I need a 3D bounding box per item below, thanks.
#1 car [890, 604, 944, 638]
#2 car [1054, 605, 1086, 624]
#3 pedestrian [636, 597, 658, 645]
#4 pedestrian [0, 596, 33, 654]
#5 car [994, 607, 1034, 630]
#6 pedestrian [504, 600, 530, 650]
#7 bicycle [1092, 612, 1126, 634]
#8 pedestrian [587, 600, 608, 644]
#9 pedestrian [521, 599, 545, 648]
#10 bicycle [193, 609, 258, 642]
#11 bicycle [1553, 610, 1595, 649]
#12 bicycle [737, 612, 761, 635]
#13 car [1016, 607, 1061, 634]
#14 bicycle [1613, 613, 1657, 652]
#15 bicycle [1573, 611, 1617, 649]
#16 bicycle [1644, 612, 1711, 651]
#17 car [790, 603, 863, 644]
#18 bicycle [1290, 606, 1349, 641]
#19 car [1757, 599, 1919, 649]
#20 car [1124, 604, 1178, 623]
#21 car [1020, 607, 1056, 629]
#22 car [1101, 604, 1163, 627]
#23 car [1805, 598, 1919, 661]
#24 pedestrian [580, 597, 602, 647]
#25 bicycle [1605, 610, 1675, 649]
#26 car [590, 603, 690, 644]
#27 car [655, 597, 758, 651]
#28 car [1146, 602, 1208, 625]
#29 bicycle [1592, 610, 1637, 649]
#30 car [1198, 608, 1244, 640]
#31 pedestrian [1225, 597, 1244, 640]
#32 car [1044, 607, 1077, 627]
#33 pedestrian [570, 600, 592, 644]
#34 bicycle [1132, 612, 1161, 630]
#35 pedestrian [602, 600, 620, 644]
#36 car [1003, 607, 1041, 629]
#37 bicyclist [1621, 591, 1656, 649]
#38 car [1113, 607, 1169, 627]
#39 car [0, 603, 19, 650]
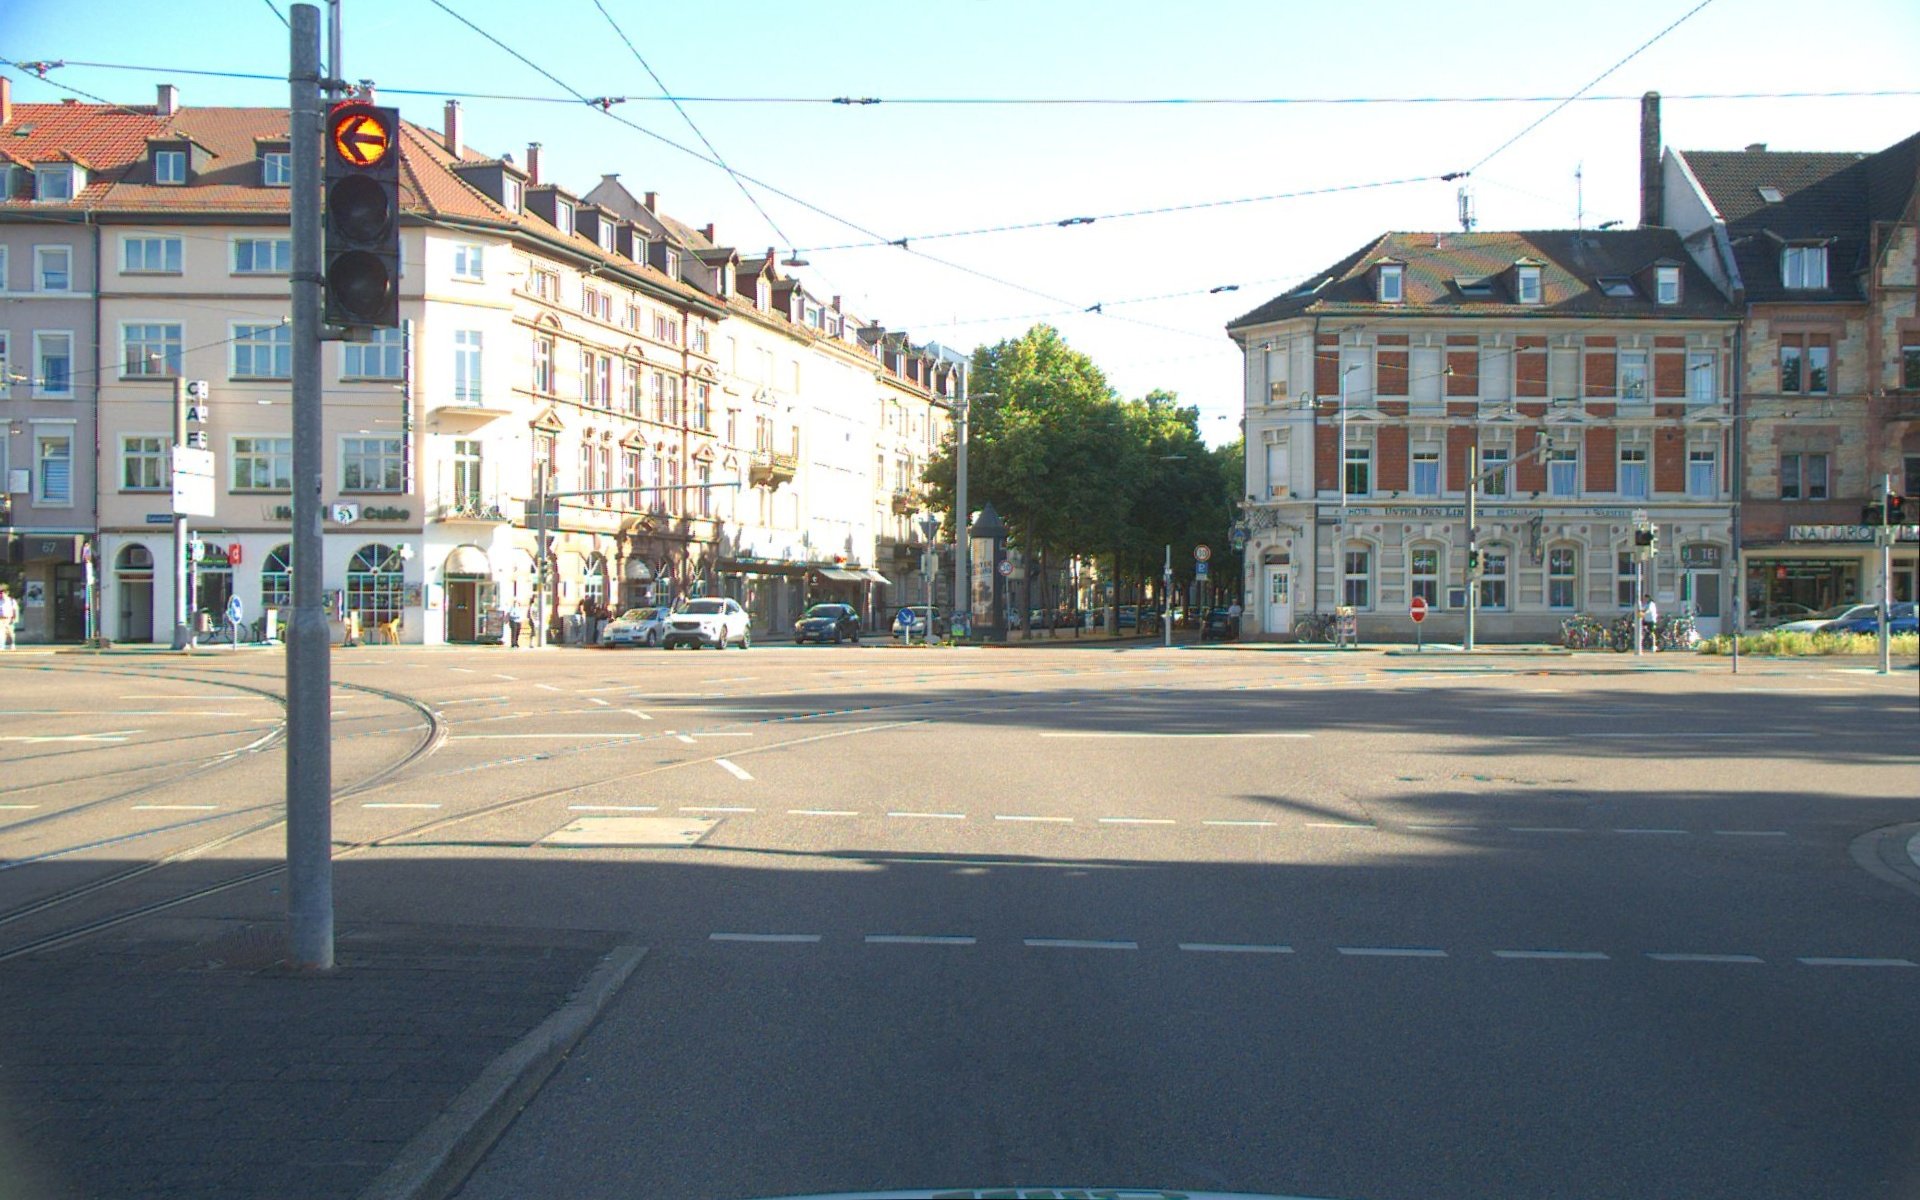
[{"bbox_3d":[-1.978,0.983,77.610,1.681,1.523,3.586,0,0,13],"label":"car"},{"bbox_3d":[9.118,1.194,136.681,1.951,1.523,4.037,0,0,13],"label":"car"},{"bbox_3d":[-12.608,0.831,66.711,0.667,1.942,0.633,0,0,15],"label":"pedestrian"},{"bbox_3d":[-27.064,0.717,47.296,0.709,1.655,0.672,0,0,9],"label":"pedestrian"},{"bbox_3d":[3.699,1.231,112.901,1.951,1.523,4.037,0,0,13],"label":"car"},{"bbox_3d":[-14.928,0.836,55.716,0.661,1.670,0.579,0,0,13],"label":"pedestrian"},{"bbox_3d":[7.462,1.161,82.843,0.577,1.086,1.924,0,0,-37],"label":"bicycle"},{"bbox_3d":[-13.779,0.833,62.855,0.613,1.670,0.538,0,0,8],"label":"pedestrian"},{"bbox_3d":[-14.703,0.793,56.994,0.617,1.670,0.553,0,0,13],"label":"pedestrian"},{"bbox_3d":[-24.896,0.860,56.100,1.906,1.086,0.582,0,0,-8],"label":"bicycle"},{"bbox_3d":[19.828,0.930,53.440,0.663,1.211,1.967,0,0,0],"label":"bicycle"},{"bbox_3d":[-10.137,1.131,79.371,0.484,1.086,1.771,0,0,15],"label":"bicycle"},{"bbox_3d":[4.662,1.184,97.388,1.951,1.523,4.037,0,0,13],"label":"car"},{"bbox_3d":[21.817,1.030,53.489,0.663,1.211,1.967,0,0,0],"label":"bicycle"},{"bbox_3d":[20.517,0.957,53.477,0.663,1.211,1.967,0,0,0],"label":"bicycle"},{"bbox_3d":[23.039,1.004,53.110,1.926,1.211,0.677,0,0,-13],"label":"bicycle"},{"bbox_3d":[-5.094,0.872,63.857,1.736,1.523,4.577,0,0,10],"label":"car"},{"bbox_3d":[12.454,0.803,57.344,1.919,1.211,0.546,0,0,4],"label":"bicycle"},{"bbox_3d":[25.962,0.707,48.936,3.906,1.437,1.845,0,0,-2],"label":"car"},{"bbox_3d":[15.558,1.100,134.595,3.910,1.572,1.998,0,0,28],"label":"car"},{"bbox_3d":[5.791,1.311,122.654,1.951,1.523,4.037,0,0,13],"label":"car"},{"bbox_3d":[12.027,1.110,115.820,3.910,1.572,1.998,0,0,28],"label":"car"},{"bbox_3d":[25.911,0.796,45.940,3.906,1.697,1.954,0,0,-2],"label":"car"},{"bbox_3d":[-13.800,0.827,61.887,0.567,1.868,0.633,0,0,15],"label":"pedestrian"},{"bbox_3d":[21.057,0.905,51.229,1.920,1.211,0.602,0,0,2],"label":"bicycle"},{"bbox_3d":[-11.406,0.825,59.171,1.951,1.379,4.225,0,0,13],"label":"car"},{"bbox_3d":[-7.496,0.675,49.343,1.951,1.523,4.350,0,0,7],"label":"car"},{"bbox_3d":[15.300,0.951,116.730,3.913,1.572,1.996,0,0,30],"label":"car"},{"bbox_3d":[21.155,0.939,53.487,0.663,1.211,1.967,0,0,0],"label":"bicycle"},{"bbox_3d":[13.069,1.164,82.586,1.951,1.523,4.037,0,0,13],"label":"car"},{"bbox_3d":[11.007,0.736,66.361,0.700,1.698,0.940,0,0,11],"label":"pedestrian"},{"bbox_3d":[8.063,1.359,132.298,1.951,1.523,4.037,0,0,13],"label":"car"},{"bbox_3d":[-14.292,0.822,62.340,0.617,1.670,0.553,0,0,13],"label":"pedestrian"},{"bbox_3d":[11.212,1.267,99.432,0.577,1.086,1.924,0,0,-37],"label":"bicycle"},{"bbox_3d":[-13.243,0.842,62.776,0.524,1.670,0.553,0,0,8],"label":"pedestrian"},{"bbox_3d":[4.445,1.262,117.398,1.951,1.523,4.037,0,0,13],"label":"car"},{"bbox_3d":[21.017,0.612,51.225,0.854,1.795,0.602,0,0,2],"label":"bicyclist"},{"bbox_3d":[14.064,1.322,128.489,3.910,1.572,1.998,0,0,28],"label":"car"},{"bbox_3d":[-32.483,0.832,52.137,4.547,1.465,1.743,0,-1,-4],"label":"car"}]
